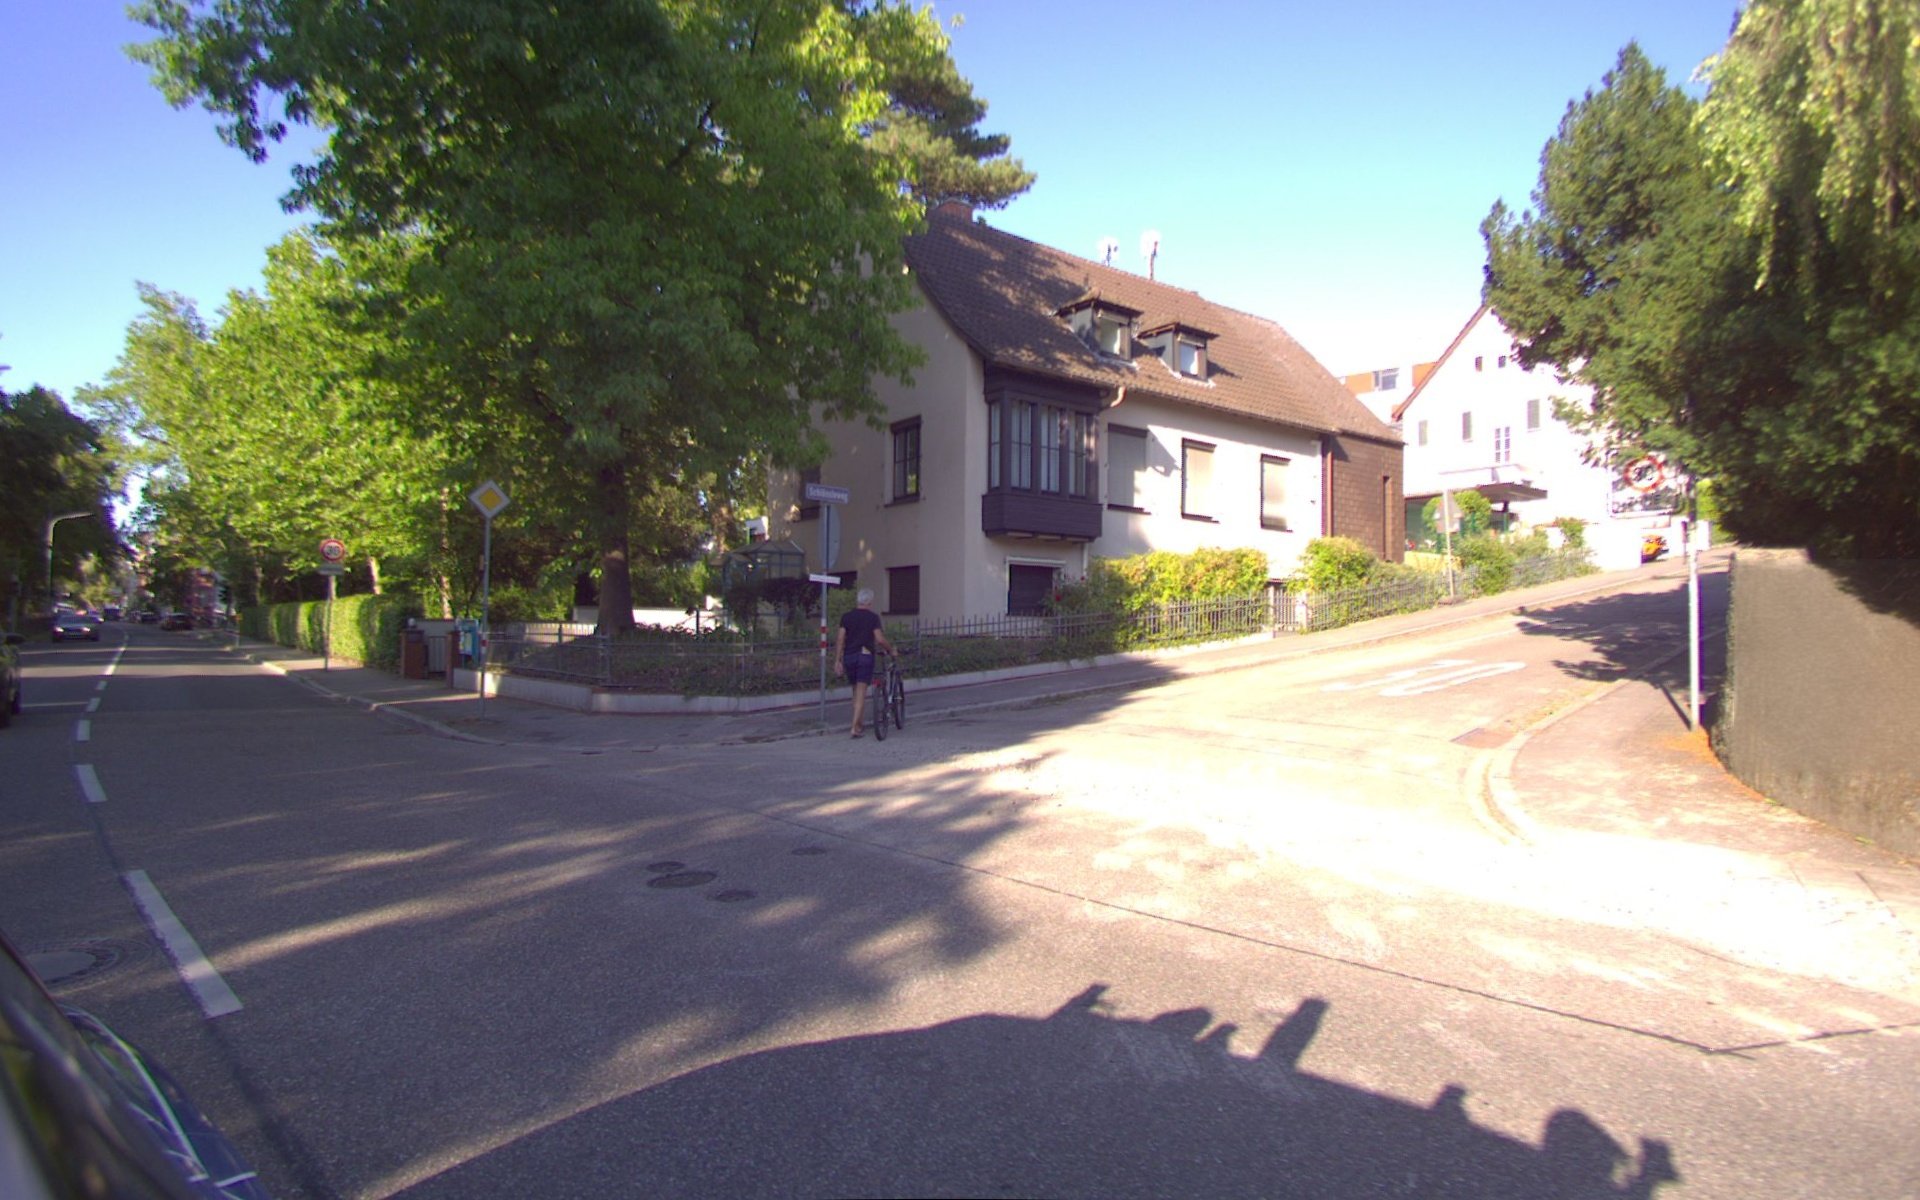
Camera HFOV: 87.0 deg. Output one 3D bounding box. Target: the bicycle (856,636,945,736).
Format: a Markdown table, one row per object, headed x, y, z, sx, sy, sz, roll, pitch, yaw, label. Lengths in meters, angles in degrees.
| x | y | z | sx | sy | sz | roll | pitch | yaw | label |
| --- | --- | --- | --- | --- | --- | --- | --- | --- | --- |
| -0.681 | 0.997 | 12.198 | 0.556 | 1.051 | 1.810 | -2 | -1 | 13 | bicycle |

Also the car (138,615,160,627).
| x | y | z | sx | sy | sz | roll | pitch | yaw | label |
| --- | --- | --- | --- | --- | --- | --- | --- | --- | --- |
| -103.522 | 2.700 | 129.182 | 1.798 | 1.393 | 3.939 | 6 | -4 | -44 | car |

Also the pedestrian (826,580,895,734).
| x | y | z | sx | sy | sz | roll | pitch | yaw | label |
| --- | --- | --- | --- | --- | --- | --- | --- | --- | --- |
| -1.236 | 0.694 | 12.704 | 0.549 | 1.840 | 0.939 | -3 | -1 | 12 | pedestrian |

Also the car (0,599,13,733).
| x | y | z | sx | sy | sz | roll | pitch | yaw | label |
| --- | --- | --- | --- | --- | --- | --- | --- | --- | --- |
| -14.368 | 0.856 | 13.890 | 1.909 | 1.699 | 4.435 | 2 | -2 | -44 | car |

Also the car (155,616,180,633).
| x | y | z | sx | sy | sz | roll | pitch | yaw | label |
| --- | --- | --- | --- | --- | --- | --- | --- | --- | --- |
| -73.446 | 2.257 | 93.743 | 1.604 | 1.445 | 3.564 | 0 | -1 | -42 | car |

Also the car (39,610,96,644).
| x | y | z | sx | sy | sz | roll | pitch | yaw | label |
| --- | --- | --- | --- | --- | --- | --- | --- | --- | --- |
| -46.871 | 1.381 | 53.225 | 1.968 | 1.652 | 4.008 | -1 | 0 | -37 | car |

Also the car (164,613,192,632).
| x | y | z | sx | sy | sz | roll | pitch | yaw | label |
| --- | --- | --- | --- | --- | --- | --- | --- | --- | --- |
| -66.567 | 1.898 | 86.088 | 1.664 | 1.445 | 3.621 | -3 | 1 | -41 | car |

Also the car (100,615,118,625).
| x | y | z | sx | sy | sz | roll | pitch | yaw | label |
| --- | --- | --- | --- | --- | --- | --- | --- | --- | --- |
| -131.385 | 3.082 | 156.226 | 1.798 | 1.393 | 3.939 | 6 | -4 | -44 | car |

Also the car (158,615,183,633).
| x | y | z | sx | sy | sz | roll | pitch | yaw | label |
| --- | --- | --- | --- | --- | --- | --- | --- | --- | --- |
| -70.125 | 2.161 | 89.858 | 1.603 | 1.558 | 3.327 | 2 | -2 | -41 | car |

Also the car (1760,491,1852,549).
| x | y | z | sx | sy | sz | roll | pitch | yaw | label |
| --- | --- | --- | --- | --- | --- | --- | --- | --- | --- |
| 30.172 | -2.871 | 36.052 | 3.942 | 1.718 | 2.002 | -9 | 5 | -43 | car |

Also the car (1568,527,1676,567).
| x | y | z | sx | sy | sz | roll | pitch | yaw | label |
| --- | --- | --- | --- | --- | --- | --- | --- | --- | --- |
| 23.265 | -1.835 | 35.632 | 1.459 | 1.231 | 2.894 | -1 | 0 | -40 | car |
